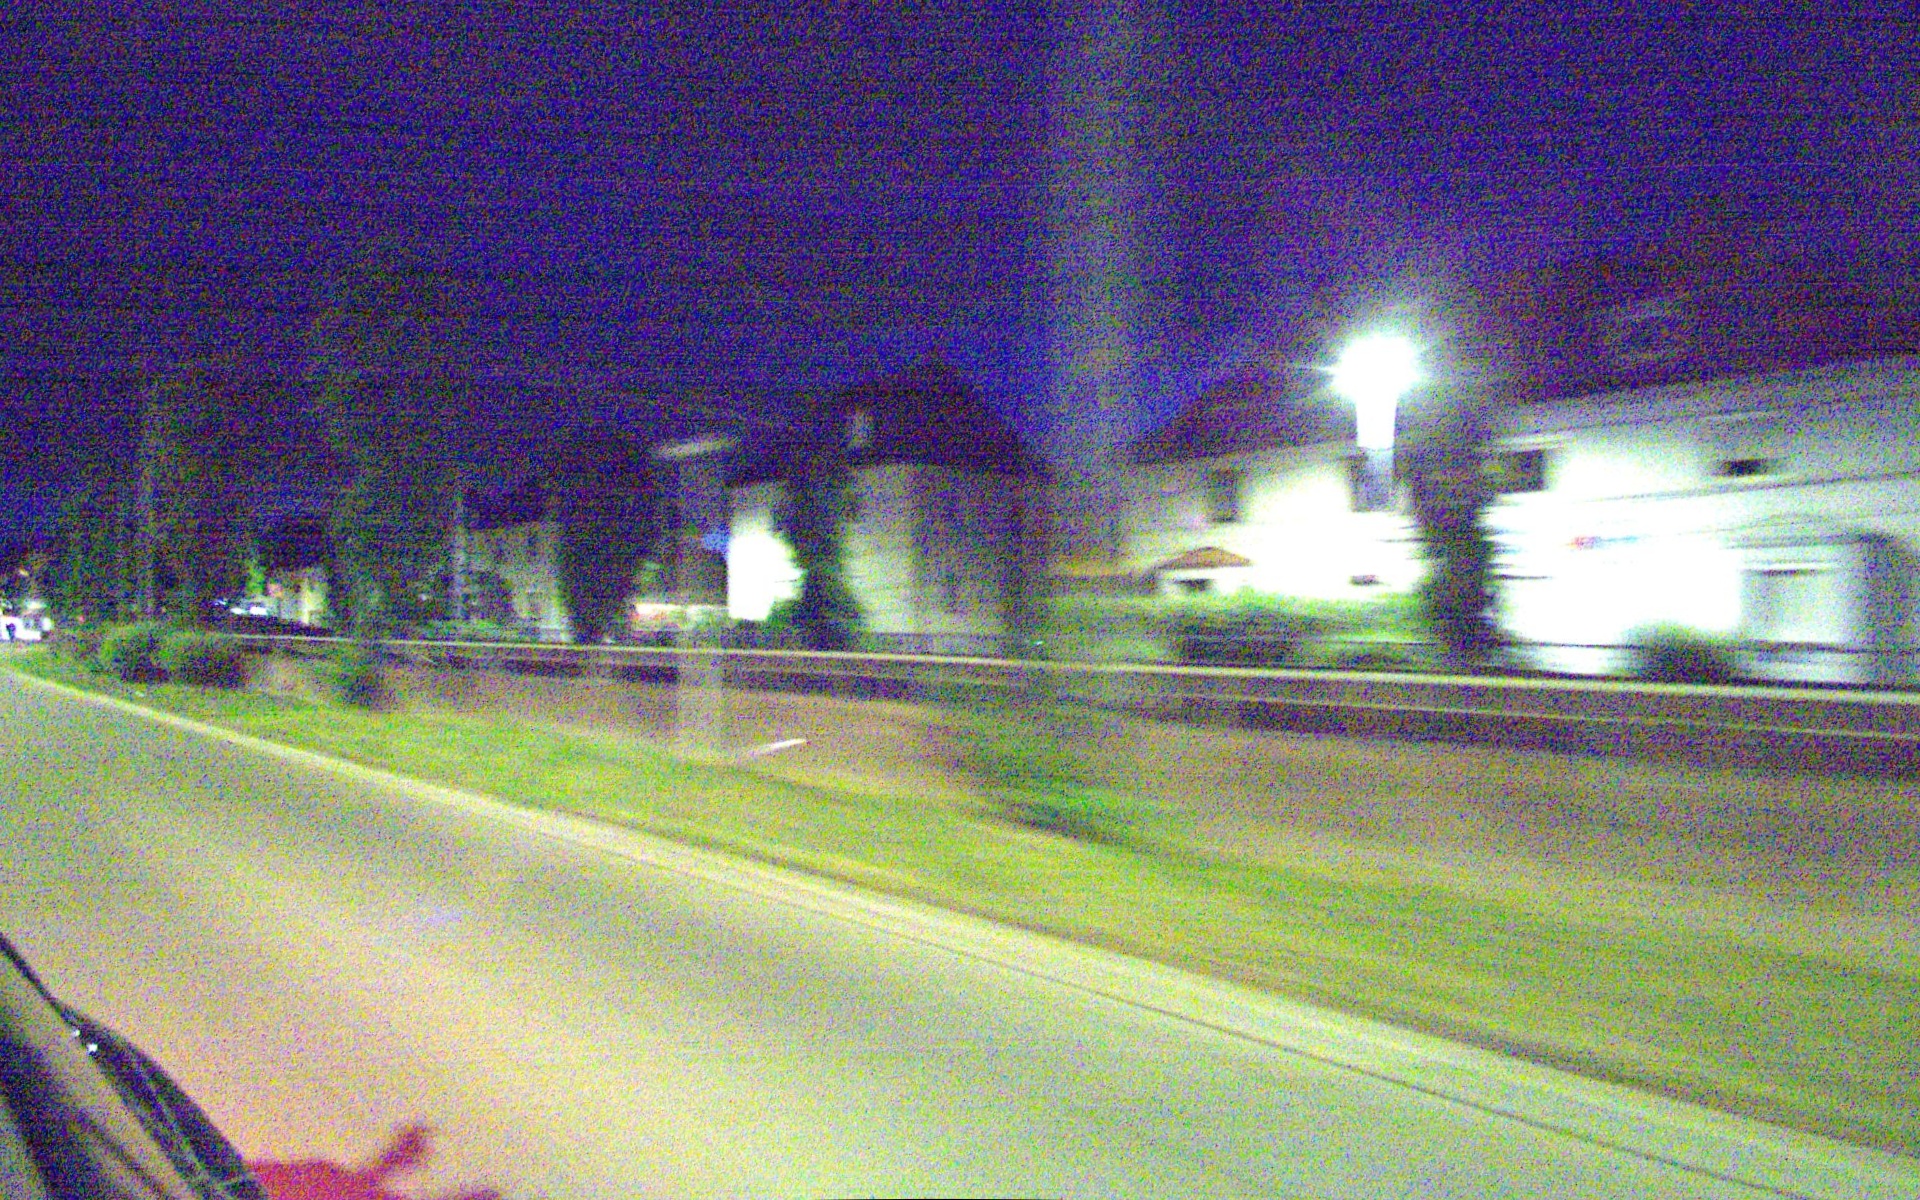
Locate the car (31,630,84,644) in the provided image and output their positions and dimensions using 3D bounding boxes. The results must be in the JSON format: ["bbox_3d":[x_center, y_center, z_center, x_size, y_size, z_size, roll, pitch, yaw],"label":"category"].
[{"bbox_3d":[-105.958,4.293,118.891,2.022,1.573,4.280,-2,-3,31],"label":"car"}]
